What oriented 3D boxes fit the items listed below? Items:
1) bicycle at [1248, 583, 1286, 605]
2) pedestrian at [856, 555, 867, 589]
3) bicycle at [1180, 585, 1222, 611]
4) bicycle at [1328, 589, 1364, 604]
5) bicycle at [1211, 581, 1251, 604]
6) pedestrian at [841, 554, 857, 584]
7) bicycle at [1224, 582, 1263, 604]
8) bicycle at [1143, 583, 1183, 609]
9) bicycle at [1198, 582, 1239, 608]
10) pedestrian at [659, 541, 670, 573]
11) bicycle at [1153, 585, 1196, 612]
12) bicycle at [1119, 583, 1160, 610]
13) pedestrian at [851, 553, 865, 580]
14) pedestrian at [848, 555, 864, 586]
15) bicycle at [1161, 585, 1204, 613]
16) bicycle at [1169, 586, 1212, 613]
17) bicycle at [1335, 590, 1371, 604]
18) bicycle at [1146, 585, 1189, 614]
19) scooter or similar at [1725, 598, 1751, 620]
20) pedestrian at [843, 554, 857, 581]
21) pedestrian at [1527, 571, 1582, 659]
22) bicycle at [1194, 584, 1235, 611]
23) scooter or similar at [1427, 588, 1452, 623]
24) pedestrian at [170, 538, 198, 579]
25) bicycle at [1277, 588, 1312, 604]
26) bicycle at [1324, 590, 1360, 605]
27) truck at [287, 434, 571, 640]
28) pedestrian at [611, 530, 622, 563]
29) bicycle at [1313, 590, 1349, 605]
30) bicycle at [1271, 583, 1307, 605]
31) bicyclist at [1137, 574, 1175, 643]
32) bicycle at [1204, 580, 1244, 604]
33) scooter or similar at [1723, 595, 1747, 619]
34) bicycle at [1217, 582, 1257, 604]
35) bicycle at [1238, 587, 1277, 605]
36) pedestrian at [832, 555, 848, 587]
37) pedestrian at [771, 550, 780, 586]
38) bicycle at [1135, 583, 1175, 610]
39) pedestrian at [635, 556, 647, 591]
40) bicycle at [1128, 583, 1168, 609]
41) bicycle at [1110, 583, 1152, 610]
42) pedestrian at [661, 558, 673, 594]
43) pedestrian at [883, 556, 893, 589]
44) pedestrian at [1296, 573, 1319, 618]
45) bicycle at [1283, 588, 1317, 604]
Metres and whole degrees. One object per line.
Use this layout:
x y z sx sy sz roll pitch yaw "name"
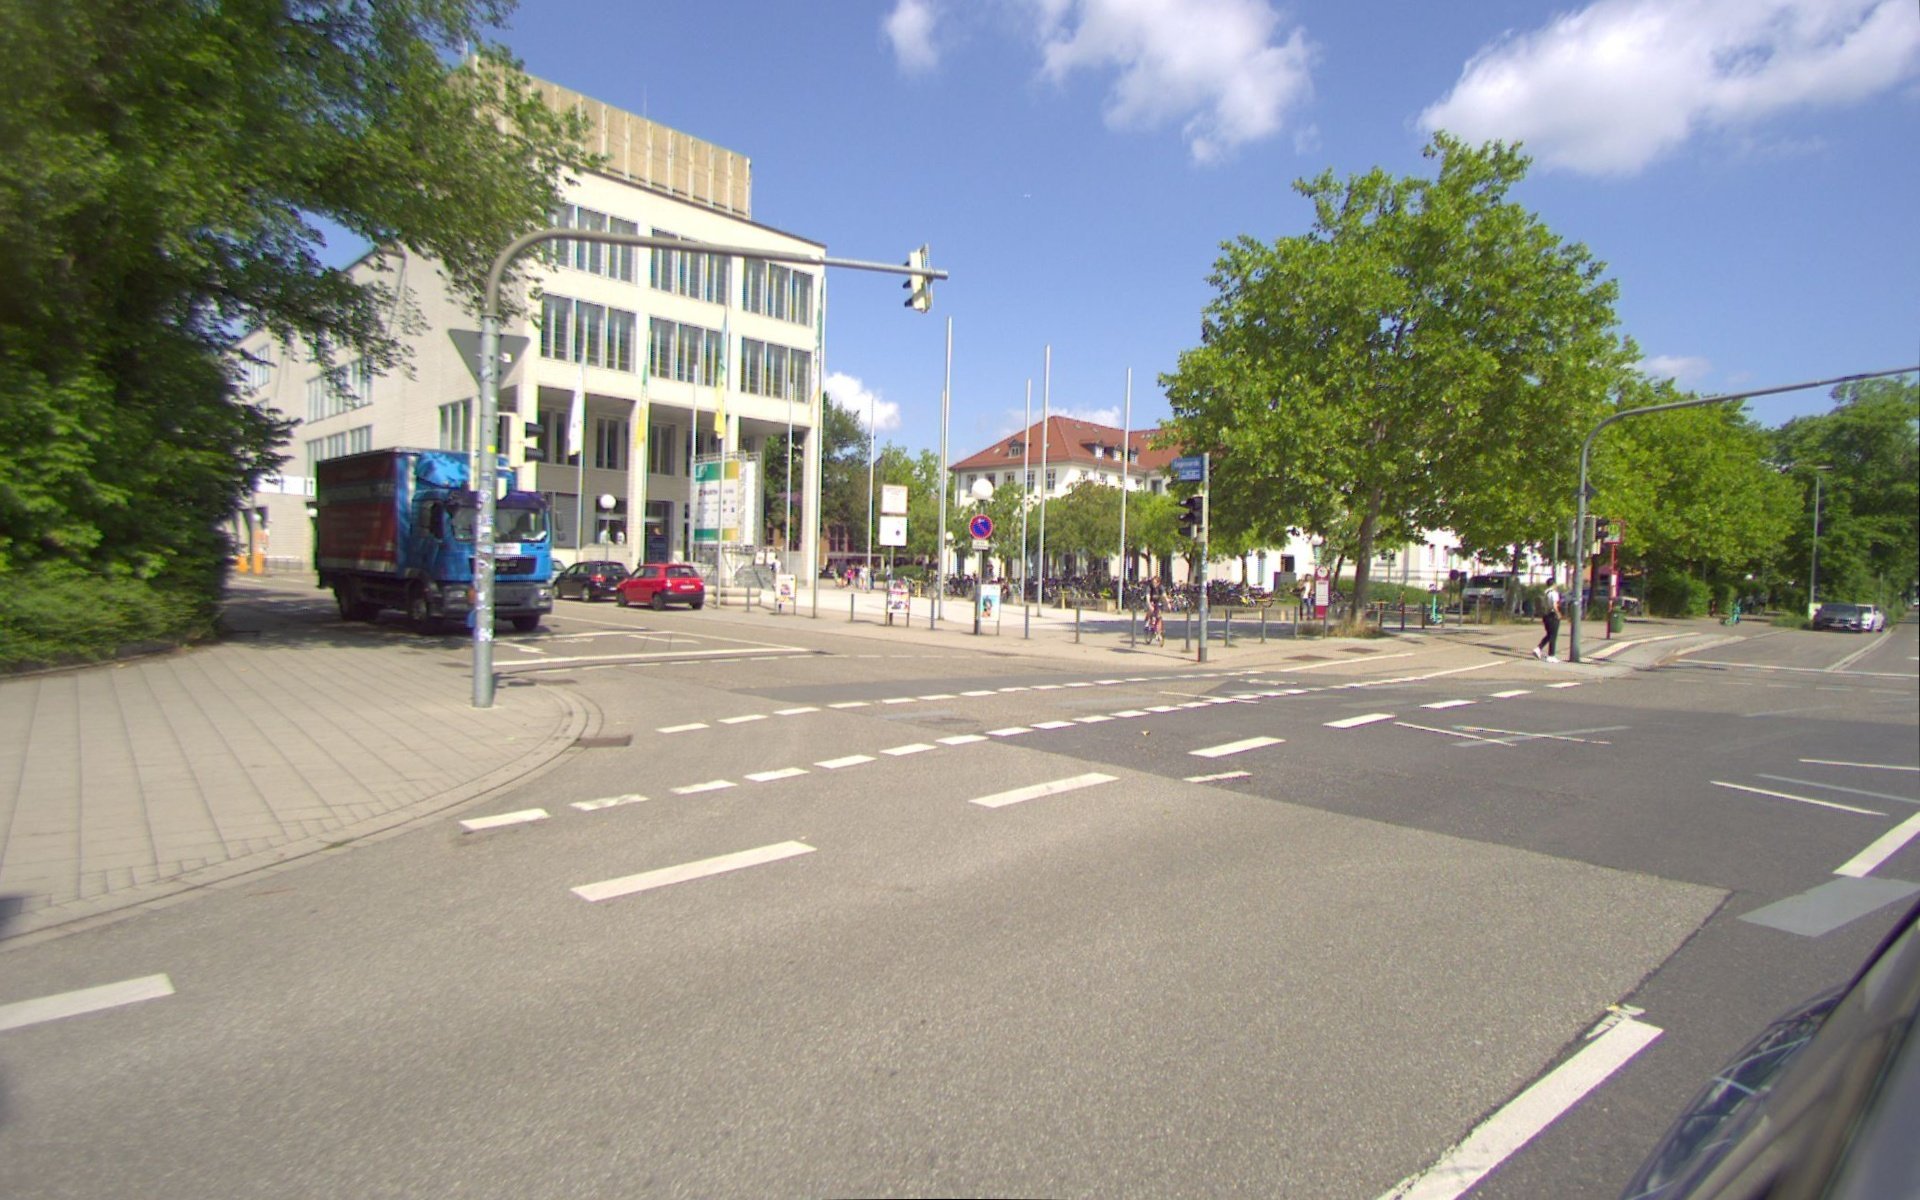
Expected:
14.997 -0.304 49.494 1.666 1.040 0.618 2 2 41 "bicycle"
-5.625 -1.600 57.746 0.503 1.870 0.535 1 1 -13 "pedestrian"
10.502 -0.095 44.043 1.666 1.110 0.618 2 1 41 "bicycle"
20.829 -0.175 54.638 1.666 0.743 0.618 3 2 41 "bicycle"
12.505 -0.346 46.687 1.666 0.997 0.618 2 2 41 "bicycle"
-6.946 -1.931 63.450 0.690 1.871 0.635 2 1 34 "pedestrian"
13.368 -0.339 47.736 1.666 0.977 0.618 2 2 41 "bicycle"
9.149 -0.172 45.658 1.666 1.110 0.618 2 1 41 "bicycle"
11.603 -0.237 45.368 1.666 1.110 0.618 2 1 41 "bicycle"
-15.315 -2.220 52.400 0.398 1.669 0.385 0 1 -44 "pedestrian"
8.998 -0.071 42.442 1.666 1.110 0.618 2 1 41 "bicycle"
7.794 -0.159 44.046 1.666 1.110 0.618 2 1 41 "bicycle"
-7.100 -2.322 70.574 0.691 1.871 0.634 2 1 41 "pedestrian"
-6.272 -1.769 61.315 0.690 1.871 0.635 2 1 34 "pedestrian"
9.422 -0.047 42.926 1.666 1.110 0.618 2 1 41 "bicycle"
9.910 -0.037 43.520 1.666 1.110 0.618 2 1 41 "bicycle"
21.382 -0.163 55.071 1.666 0.743 0.618 3 2 41 "bicycle"
8.591 -0.028 41.955 1.666 1.110 0.618 2 1 41 "bicycle"
38.236 0.435 49.726 1.342 1.084 0.519 1 1 -29 "scooter or similar"
-7.484 -2.206 68.670 0.690 1.871 0.635 2 1 34 "pedestrian"
13.068 0.316 22.241 0.927 1.847 0.701 -1 5 -44 "pedestrian"
11.252 -0.121 44.784 1.666 1.110 0.618 2 1 41 "bicycle"
16.082 0.174 33.928 1.148 1.142 0.347 0 1 -44 "scooter or similar"
-39.131 -2.072 51.050 1.043 2.038 0.823 0 1 -44 "pedestrian"
18.040 -0.197 54.589 1.665 0.800 0.618 2 2 39 "bicycle"
20.366 -0.151 53.989 1.666 0.743 0.618 3 2 41 "bicycle"
-12.818 -1.474 23.813 10.108 3.928 2.737 4 4 43 "truck"
-17.178 -2.675 50.655 0.397 1.669 0.386 1 1 -36 "pedestrian"
19.499 -0.127 53.228 1.666 0.743 0.618 3 2 41 "bicycle"
17.329 -0.316 53.359 1.666 1.110 0.618 2 1 41 "bicycle"
4.440 0.170 22.988 0.600 1.526 0.920 1 1 -2 "bicyclist"
12.048 -0.373 46.223 1.666 1.048 0.618 2 2 41 "bicycle"
36.658 0.339 47.891 1.414 1.091 0.518 0 1 -37 "scooter or similar"
12.907 -0.335 47.190 1.666 0.984 0.618 2 2 41 "bicycle"
14.323 -0.180 48.765 1.666 0.800 0.618 3 2 41 "bicycle"
-7.058 -1.703 59.472 0.787 1.871 0.696 1 1 -18 "pedestrian"
-9.521 -1.652 52.187 0.432 1.829 0.486 1 1 -13 "pedestrian"
8.694 -0.167 45.091 1.666 1.110 0.618 2 1 41 "bicycle"
-15.107 -1.255 47.939 0.397 1.669 0.385 0 1 -43 "pedestrian"
8.274 -0.181 44.598 1.666 1.110 0.618 2 1 41 "bicycle"
7.342 -0.146 43.512 1.666 1.110 0.618 2 1 41 "bicycle"
-13.818 -1.119 47.687 0.397 1.669 0.385 0 1 -43 "pedestrian"
-4.248 -1.619 59.486 0.503 1.870 0.535 1 1 -13 "pedestrian"
12.970 -0.177 37.787 0.629 1.670 0.741 1 1 9 "pedestrian"
18.531 -0.204 55.151 1.665 0.800 0.618 2 2 39 "bicycle"
